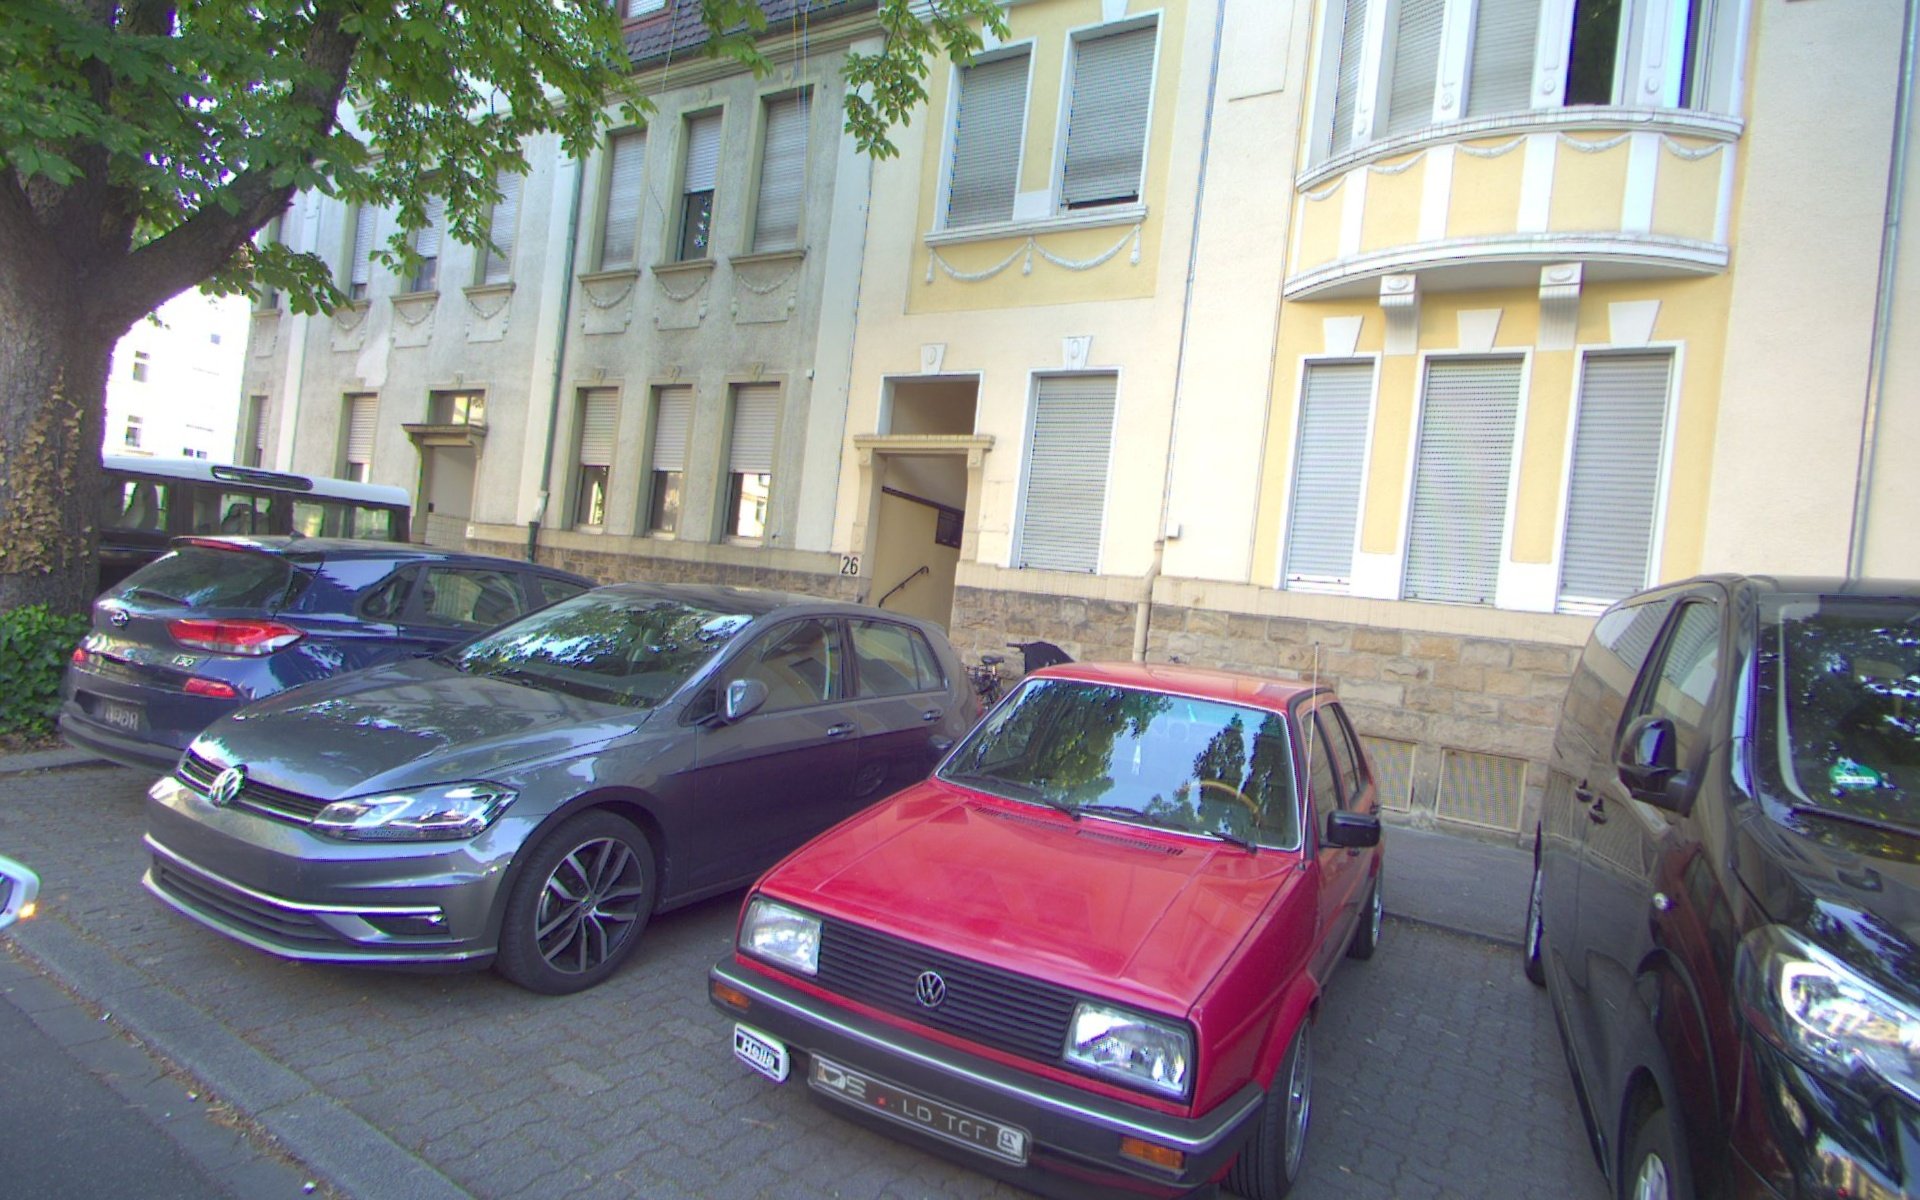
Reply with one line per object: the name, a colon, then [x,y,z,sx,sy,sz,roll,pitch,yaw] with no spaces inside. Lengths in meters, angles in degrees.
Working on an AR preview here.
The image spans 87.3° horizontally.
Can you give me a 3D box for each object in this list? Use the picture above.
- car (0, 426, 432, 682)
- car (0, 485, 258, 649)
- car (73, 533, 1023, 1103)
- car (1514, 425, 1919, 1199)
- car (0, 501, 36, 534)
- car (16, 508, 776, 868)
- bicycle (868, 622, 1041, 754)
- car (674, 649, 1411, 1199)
car: [-7.620,-0.381,9.316,1.762,1.981,4.496,7,1,29]
car: [-9.944,-0.384,10.796,1.680,1.606,3.488,7,0,25]
car: [-1.335,0.653,4.840,1.600,1.440,4.054,6,0,29]
car: [2.879,0.899,2.950,1.848,1.847,4.829,6,0,27]
car: [-36.327,-3.234,36.846,1.357,1.081,3.370,7,-1,30]
car: [-3.020,0.420,6.219,1.600,1.440,3.754,6,0,29]
bicycle: [-0.080,0.873,10.366,1.675,1.090,0.500,7,2,32]
car: [0.832,0.962,4.231,1.532,1.337,3.916,6,0,29]
